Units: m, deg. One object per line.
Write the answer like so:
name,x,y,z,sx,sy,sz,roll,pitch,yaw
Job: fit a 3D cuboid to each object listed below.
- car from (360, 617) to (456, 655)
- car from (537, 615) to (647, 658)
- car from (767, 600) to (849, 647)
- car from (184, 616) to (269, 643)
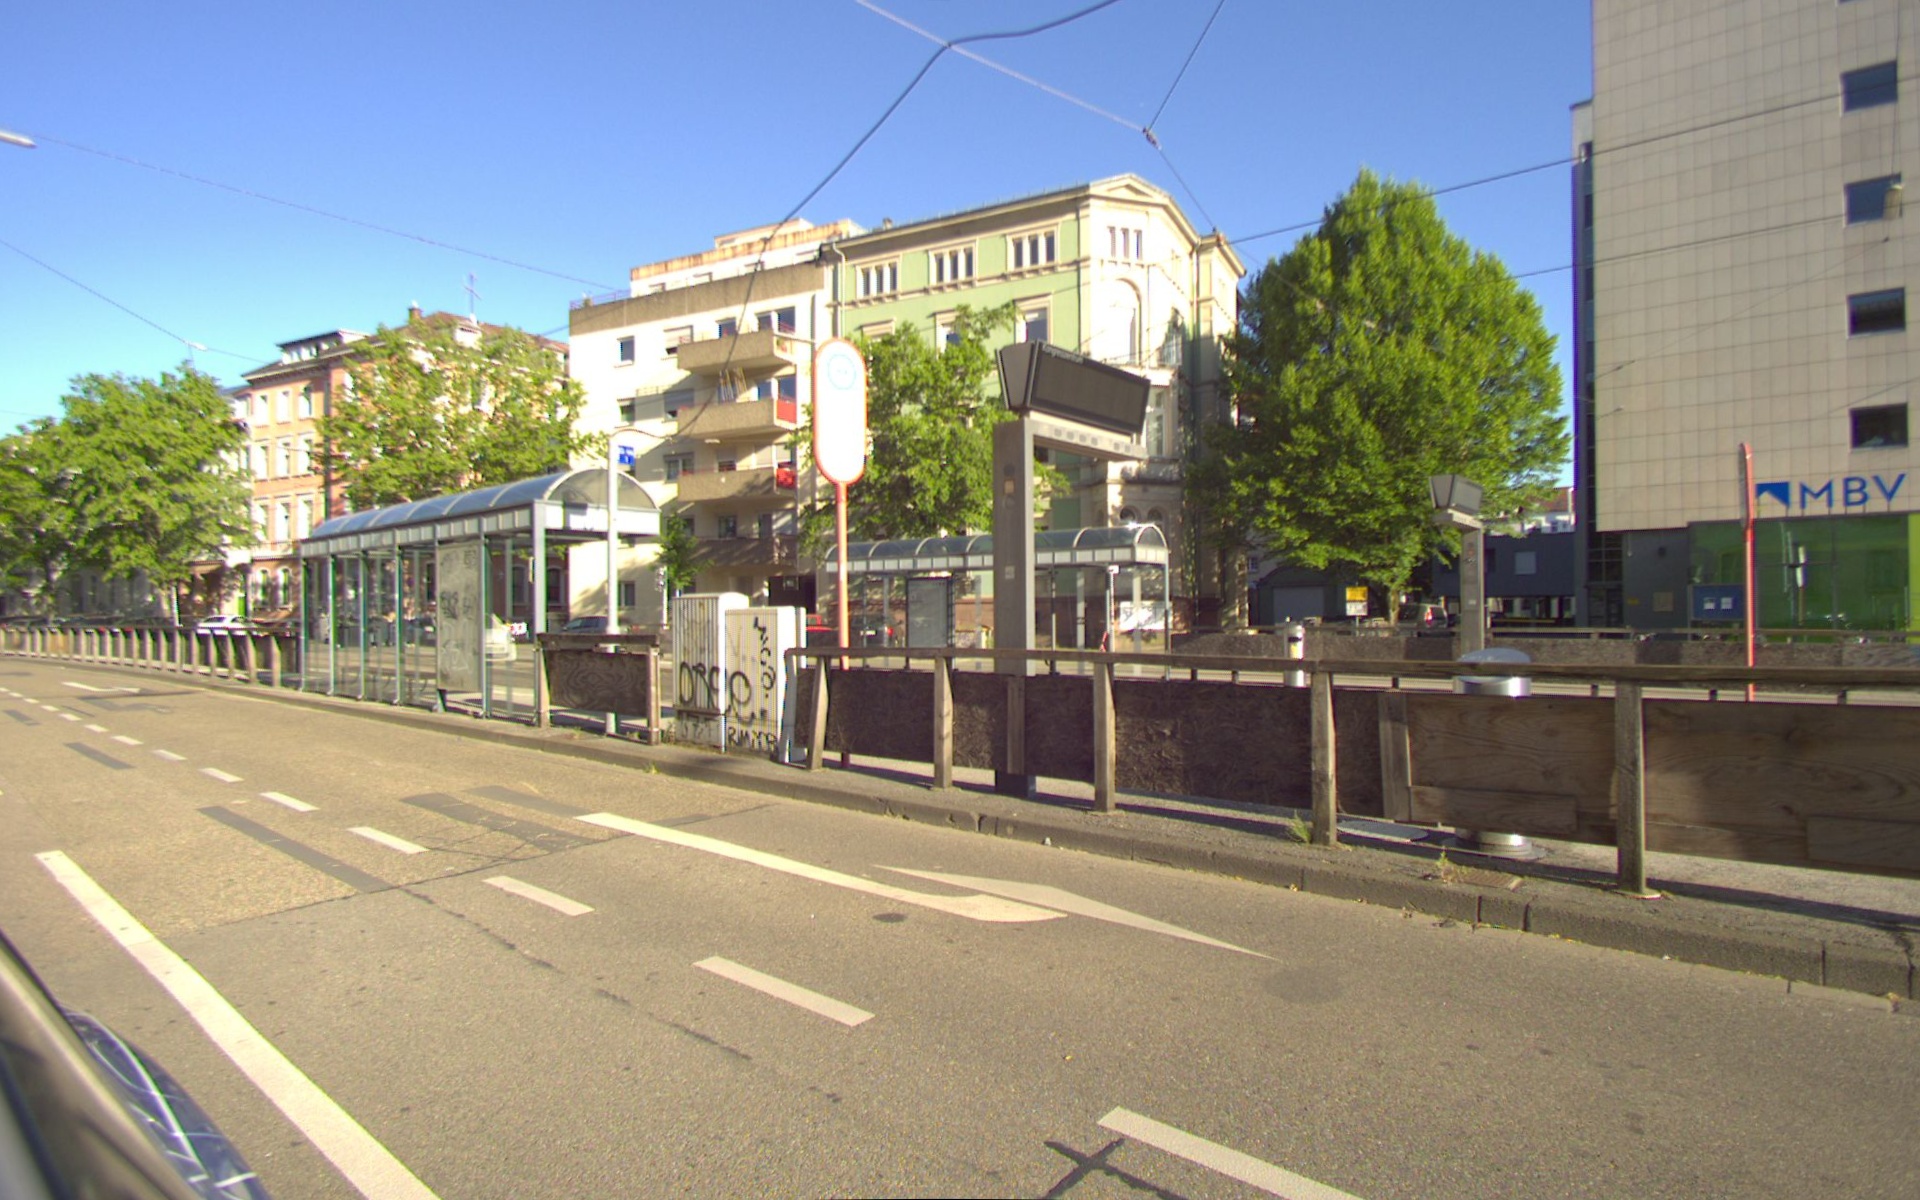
car,-23.805,1.523,43.613,3.987,1.541,1.978,-1,-2,32
car,-14.061,1.363,38.631,3.987,1.541,1.978,-1,-2,32
car,-6.872,1.073,46.162,1.791,2.029,3.963,-1,-1,27
car,-39.204,1.565,54.168,1.565,1.360,3.631,0,-1,11
